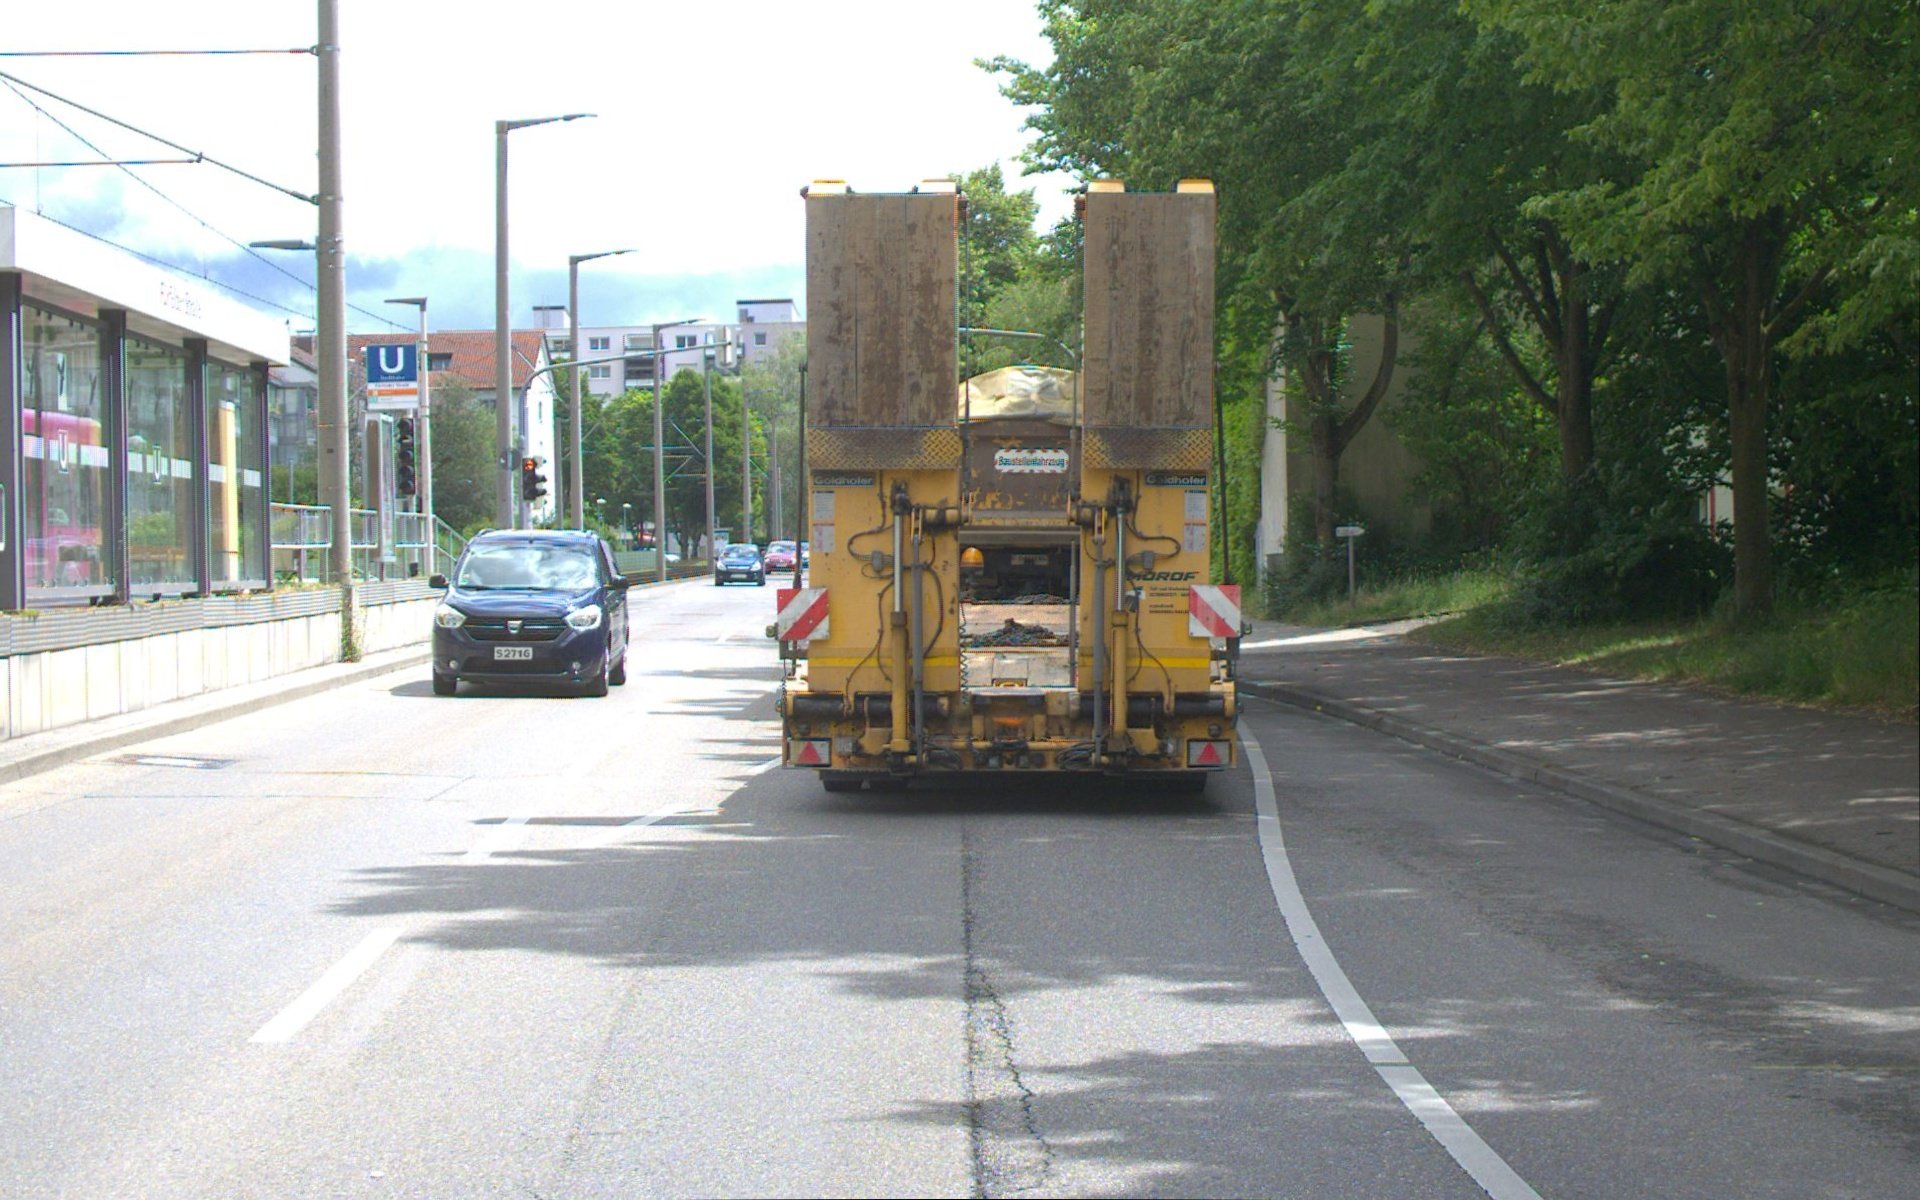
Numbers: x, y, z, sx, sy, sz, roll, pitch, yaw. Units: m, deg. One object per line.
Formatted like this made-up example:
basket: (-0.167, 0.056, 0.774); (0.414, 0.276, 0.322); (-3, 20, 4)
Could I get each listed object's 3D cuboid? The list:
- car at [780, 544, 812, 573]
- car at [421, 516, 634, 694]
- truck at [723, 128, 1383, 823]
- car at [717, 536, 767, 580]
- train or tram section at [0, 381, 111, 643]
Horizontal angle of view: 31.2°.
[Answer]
car: (-8.651, -2.200, 181.343); (1.667, 1.448, 3.679); (1, 0, -2)
car: (-4.347, 0.019, 35.098); (1.720, 1.676, 4.388); (1, 1, -2)
truck: (0.044, -0.788, 25.394); (3.402, 3.719, 13.741); (-1, 1, -5)
car: (-7.655, -1.464, 120.906); (1.667, 1.448, 3.679); (1, 0, -2)
train or tram section: (-14.131, -1.144, 42.778); (3.107, 3.453, 19.091); (1, 1, -2)
